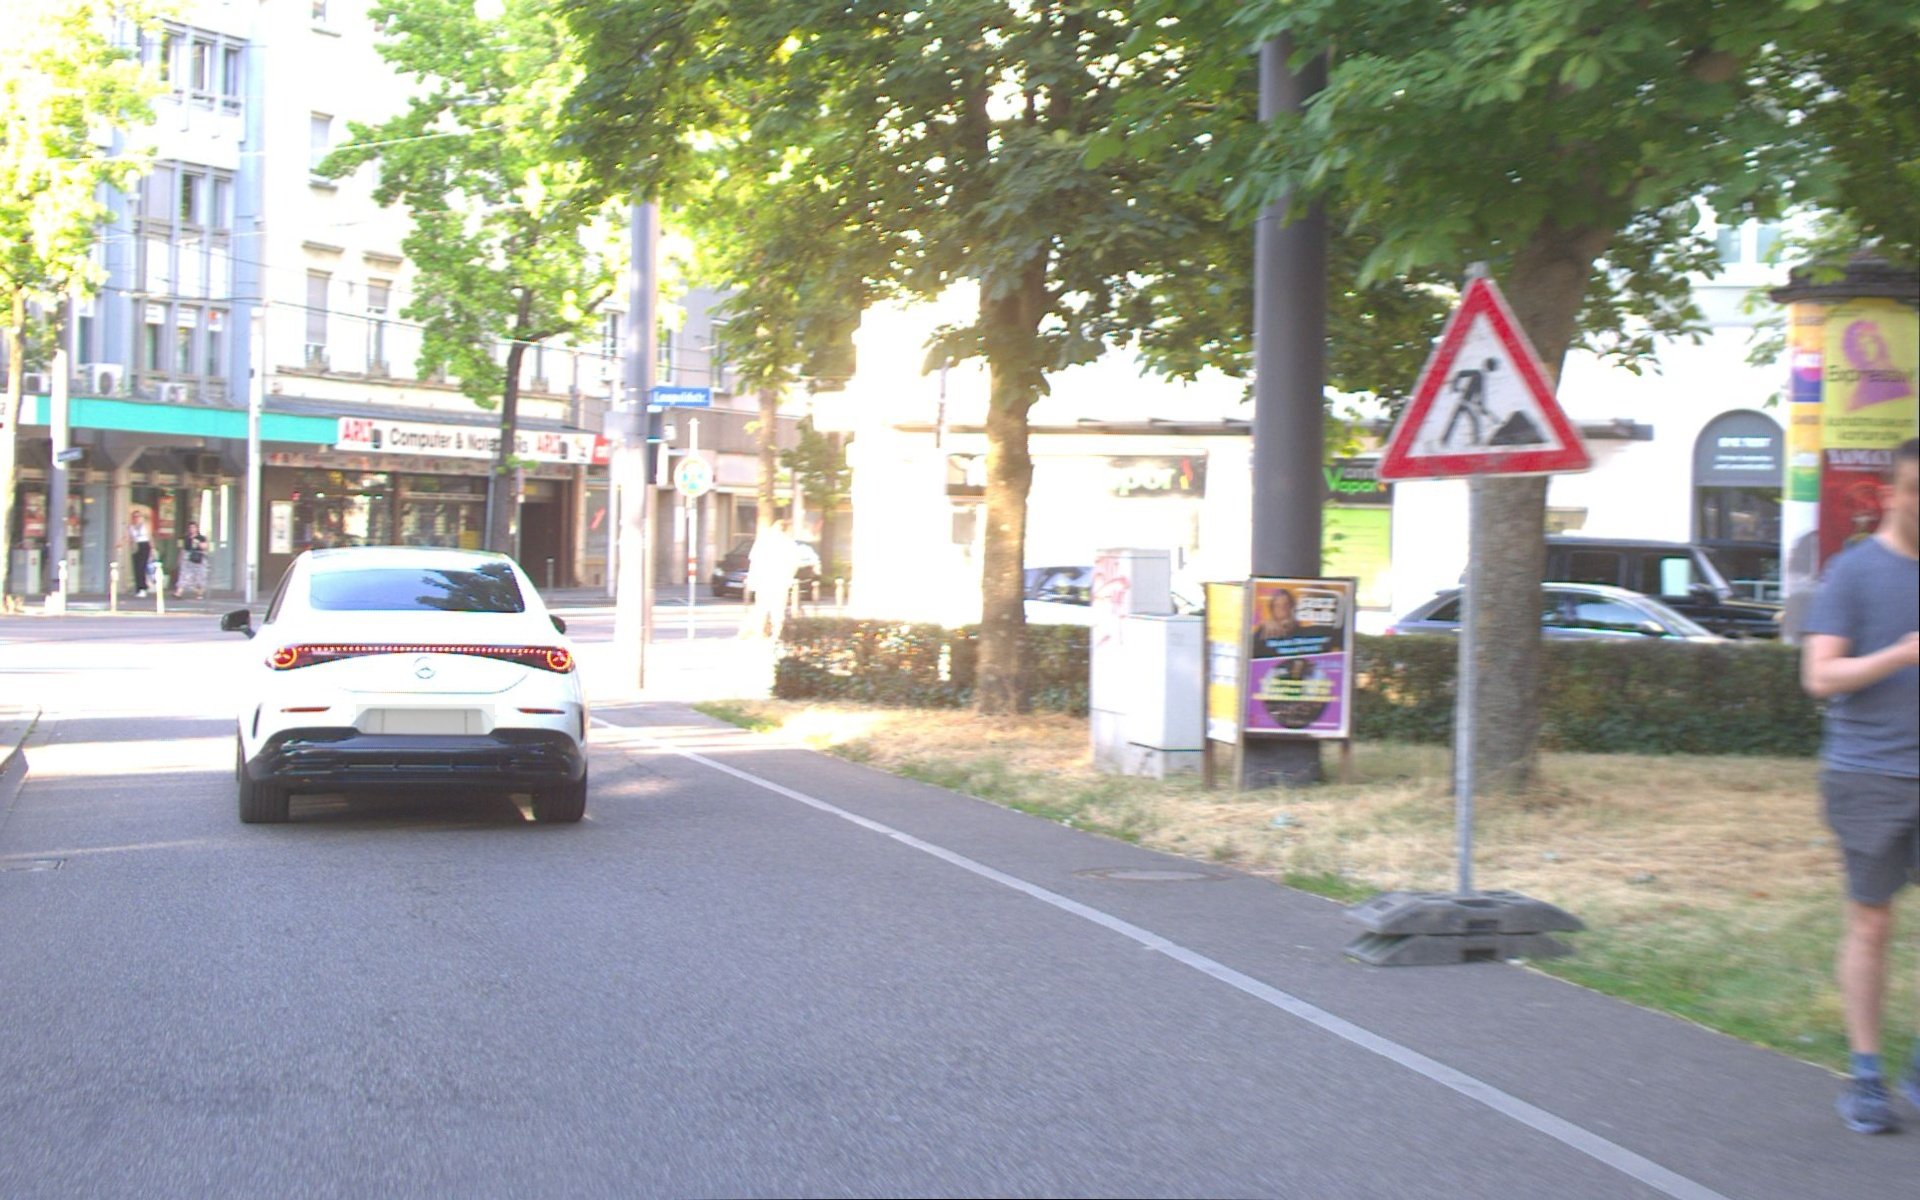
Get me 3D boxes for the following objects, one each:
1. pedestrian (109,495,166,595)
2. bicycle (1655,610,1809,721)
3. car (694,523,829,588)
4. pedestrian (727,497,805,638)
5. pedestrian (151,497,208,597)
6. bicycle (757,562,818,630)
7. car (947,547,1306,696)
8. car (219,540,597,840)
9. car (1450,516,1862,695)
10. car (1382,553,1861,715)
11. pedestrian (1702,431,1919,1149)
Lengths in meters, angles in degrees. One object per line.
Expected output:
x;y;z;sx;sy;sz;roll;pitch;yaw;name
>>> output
-16.825;-1.114;70.329;0.797;2.007;0.733;2;1;23;pedestrian
6.731;0.565;29.940;0.555;0.926;1.525;2;1;45;bicycle
-5.217;-1.171;90.992;1.964;1.634;3.995;2;1;23;car
-2.826;-0.475;50.071;0.841;2.007;0.846;2;0;16;pedestrian
-15.903;-1.075;70.080;0.797;2.007;0.733;2;1;23;pedestrian
-2.772;-0.064;55.408;0.354;1.073;1.697;2;1;19;bicycle
1.855;0.213;38.114;3.570;1.508;1.737;2;1;21;car
-3.114;0.421;19.279;1.867;1.464;4.044;0;1;-10;car
8.326;0.033;41.083;4.502;1.957;2.021;2;1;21;car
6.919;0.322;35.981;4.663;1.508;1.737;2;1;21;car
2.362;0.456;8.725;0.641;1.737;0.589;2;1;-32;pedestrian
